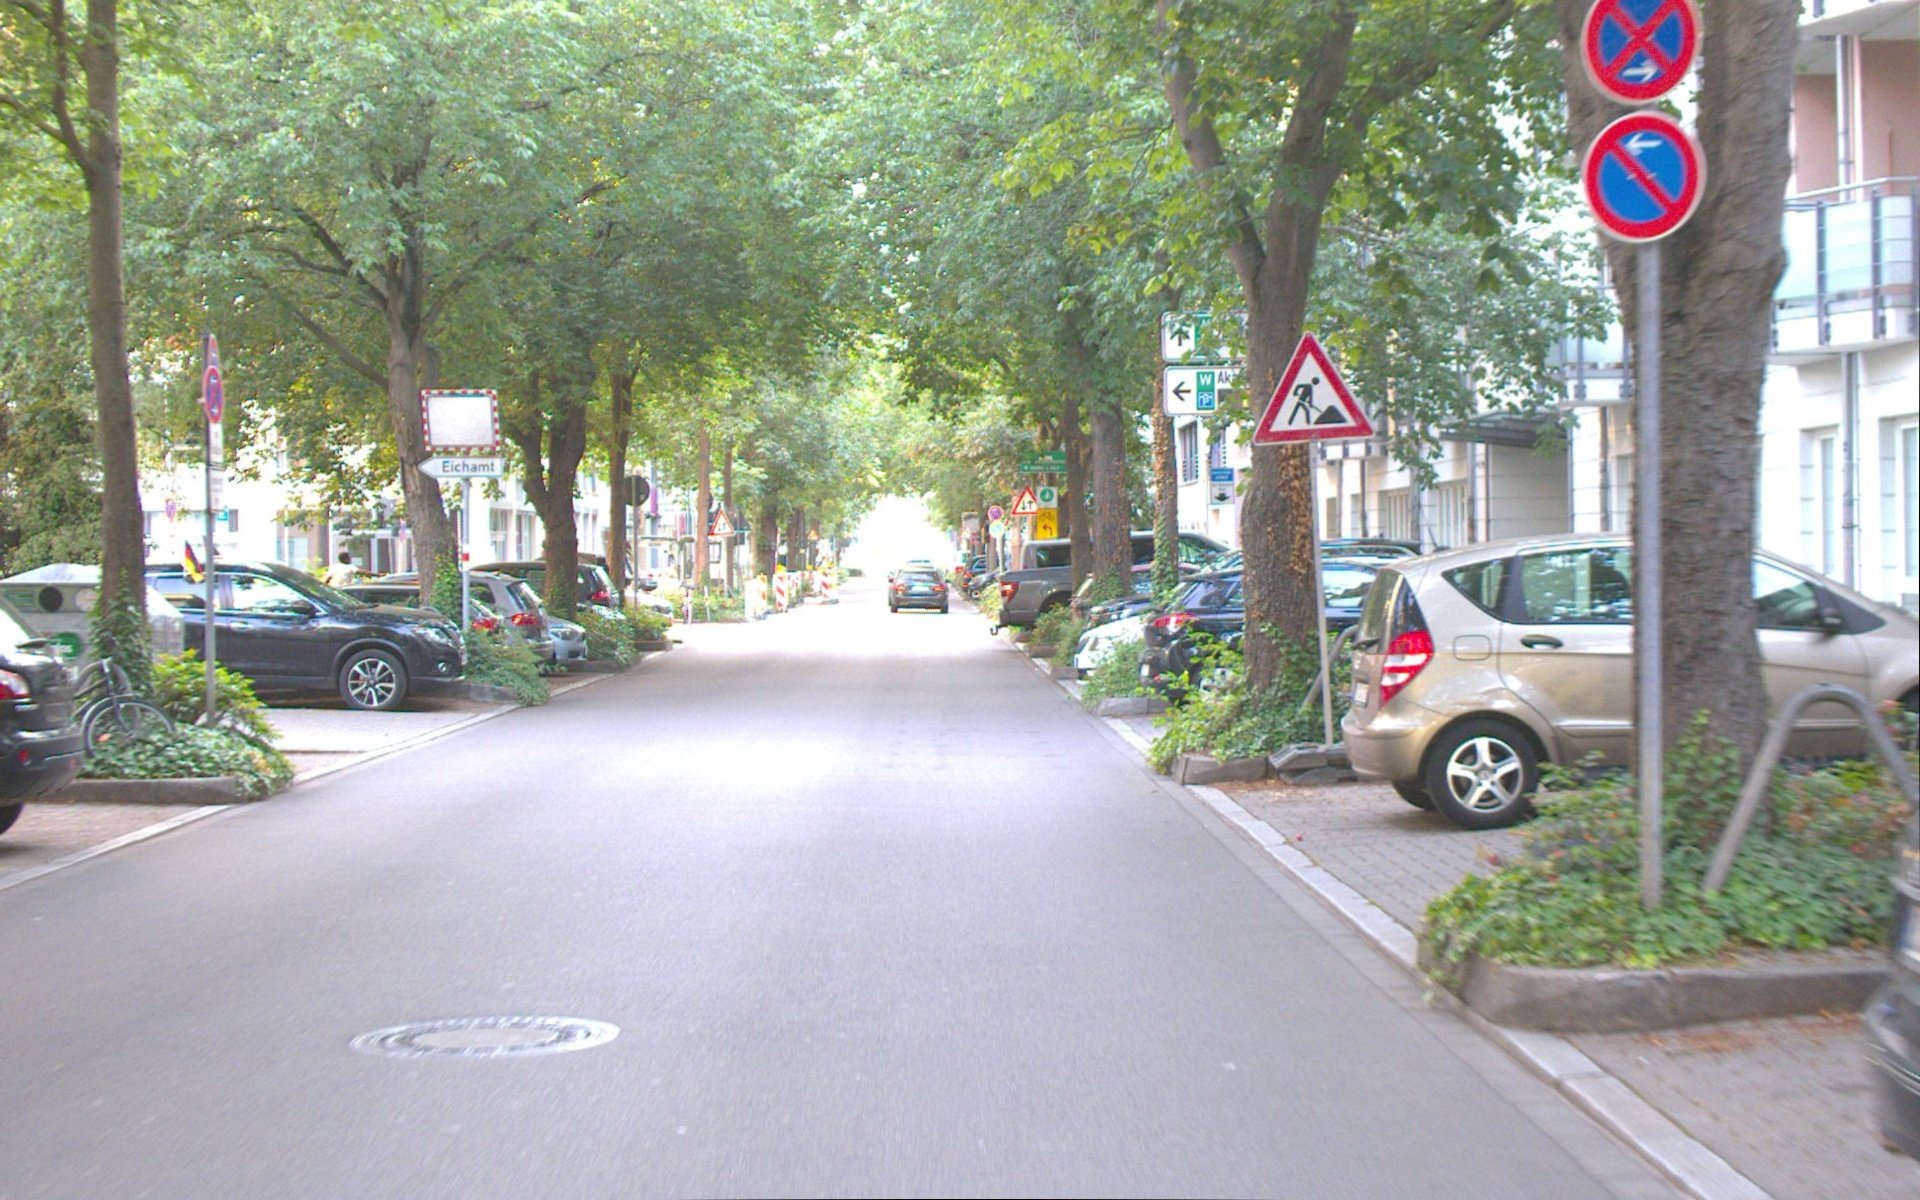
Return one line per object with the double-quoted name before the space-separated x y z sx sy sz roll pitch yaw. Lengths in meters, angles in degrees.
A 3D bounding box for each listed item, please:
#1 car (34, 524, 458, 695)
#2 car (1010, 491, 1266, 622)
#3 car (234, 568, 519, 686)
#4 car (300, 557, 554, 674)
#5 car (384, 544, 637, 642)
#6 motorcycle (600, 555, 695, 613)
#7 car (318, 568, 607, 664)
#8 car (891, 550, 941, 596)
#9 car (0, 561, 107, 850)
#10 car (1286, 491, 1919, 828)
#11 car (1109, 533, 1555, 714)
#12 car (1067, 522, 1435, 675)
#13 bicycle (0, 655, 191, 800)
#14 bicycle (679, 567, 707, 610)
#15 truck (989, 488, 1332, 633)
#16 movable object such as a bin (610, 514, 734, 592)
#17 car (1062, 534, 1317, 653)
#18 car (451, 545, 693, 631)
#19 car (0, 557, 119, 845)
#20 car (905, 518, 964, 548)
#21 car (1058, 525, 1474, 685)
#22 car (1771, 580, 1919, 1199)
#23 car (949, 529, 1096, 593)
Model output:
"car" -8.051 0.088 39.085 4.418 1.886 2.000 0 1 -1
"car" 3.374 -0.835 65.840 4.620 2.125 2.037 -4 1 0
"car" -7.431 0.327 43.996 3.404 1.437 1.594 -1 1 -2
"car" -7.590 0.211 49.210 3.404 1.604 1.761 -1 1 -2
"car" -8.157 -0.139 62.728 4.395 1.679 2.064 1 1 -2
"motorcycle" -7.959 -0.419 87.583 2.373 1.436 0.801 -1 1 -40
"car" -7.386 0.226 51.319 4.099 1.375 1.747 1 1 -2
"car" -1.367 -0.855 107.377 1.500 1.411 3.714 -1 1 -1
"car" -7.122 0.574 19.801 3.987 1.586 1.789 0 1 -1
"car" 3.950 0.295 19.805 3.862 1.661 1.926 -3 1 0
"car" 3.611 0.207 33.851 3.986 1.469 1.914 -4 1 -4
"car" 3.774 -0.032 44.989 4.382 1.698 1.896 -4 1 -8
"bicycle" -6.178 0.880 23.874 1.555 0.933 0.484 -2 1 -24
"bicycle" -7.056 -0.308 90.932 0.601 1.114 1.800 -1 0 -1
"truck" 3.622 -0.733 63.127 6.004 2.125 2.261 -5 1 0
"movable object such as a bin" -8.816 -1.443 105.569 3.665 2.325 2.584 -1 1 -2
"car" 3.539 -0.091 53.435 3.664 1.543 1.781 -4 -1 -3
"car" -7.599 -0.243 67.702 4.498 1.576 2.055 1 0 0
"car" -7.037 0.562 19.777 3.986 1.583 1.828 -1 1 -3
"car" -1.745 -4.607 237.941 3.987 2.007 2.000 -1 1 1
"car" 3.505 0.045 39.945 4.572 1.546 1.773 -3 1 -1
"car" 3.933 0.592 6.541 4.358 1.465 1.731 -3 1 4
"car" 2.132 -1.343 118.015 4.971 2.080 1.738 -1 1 0
